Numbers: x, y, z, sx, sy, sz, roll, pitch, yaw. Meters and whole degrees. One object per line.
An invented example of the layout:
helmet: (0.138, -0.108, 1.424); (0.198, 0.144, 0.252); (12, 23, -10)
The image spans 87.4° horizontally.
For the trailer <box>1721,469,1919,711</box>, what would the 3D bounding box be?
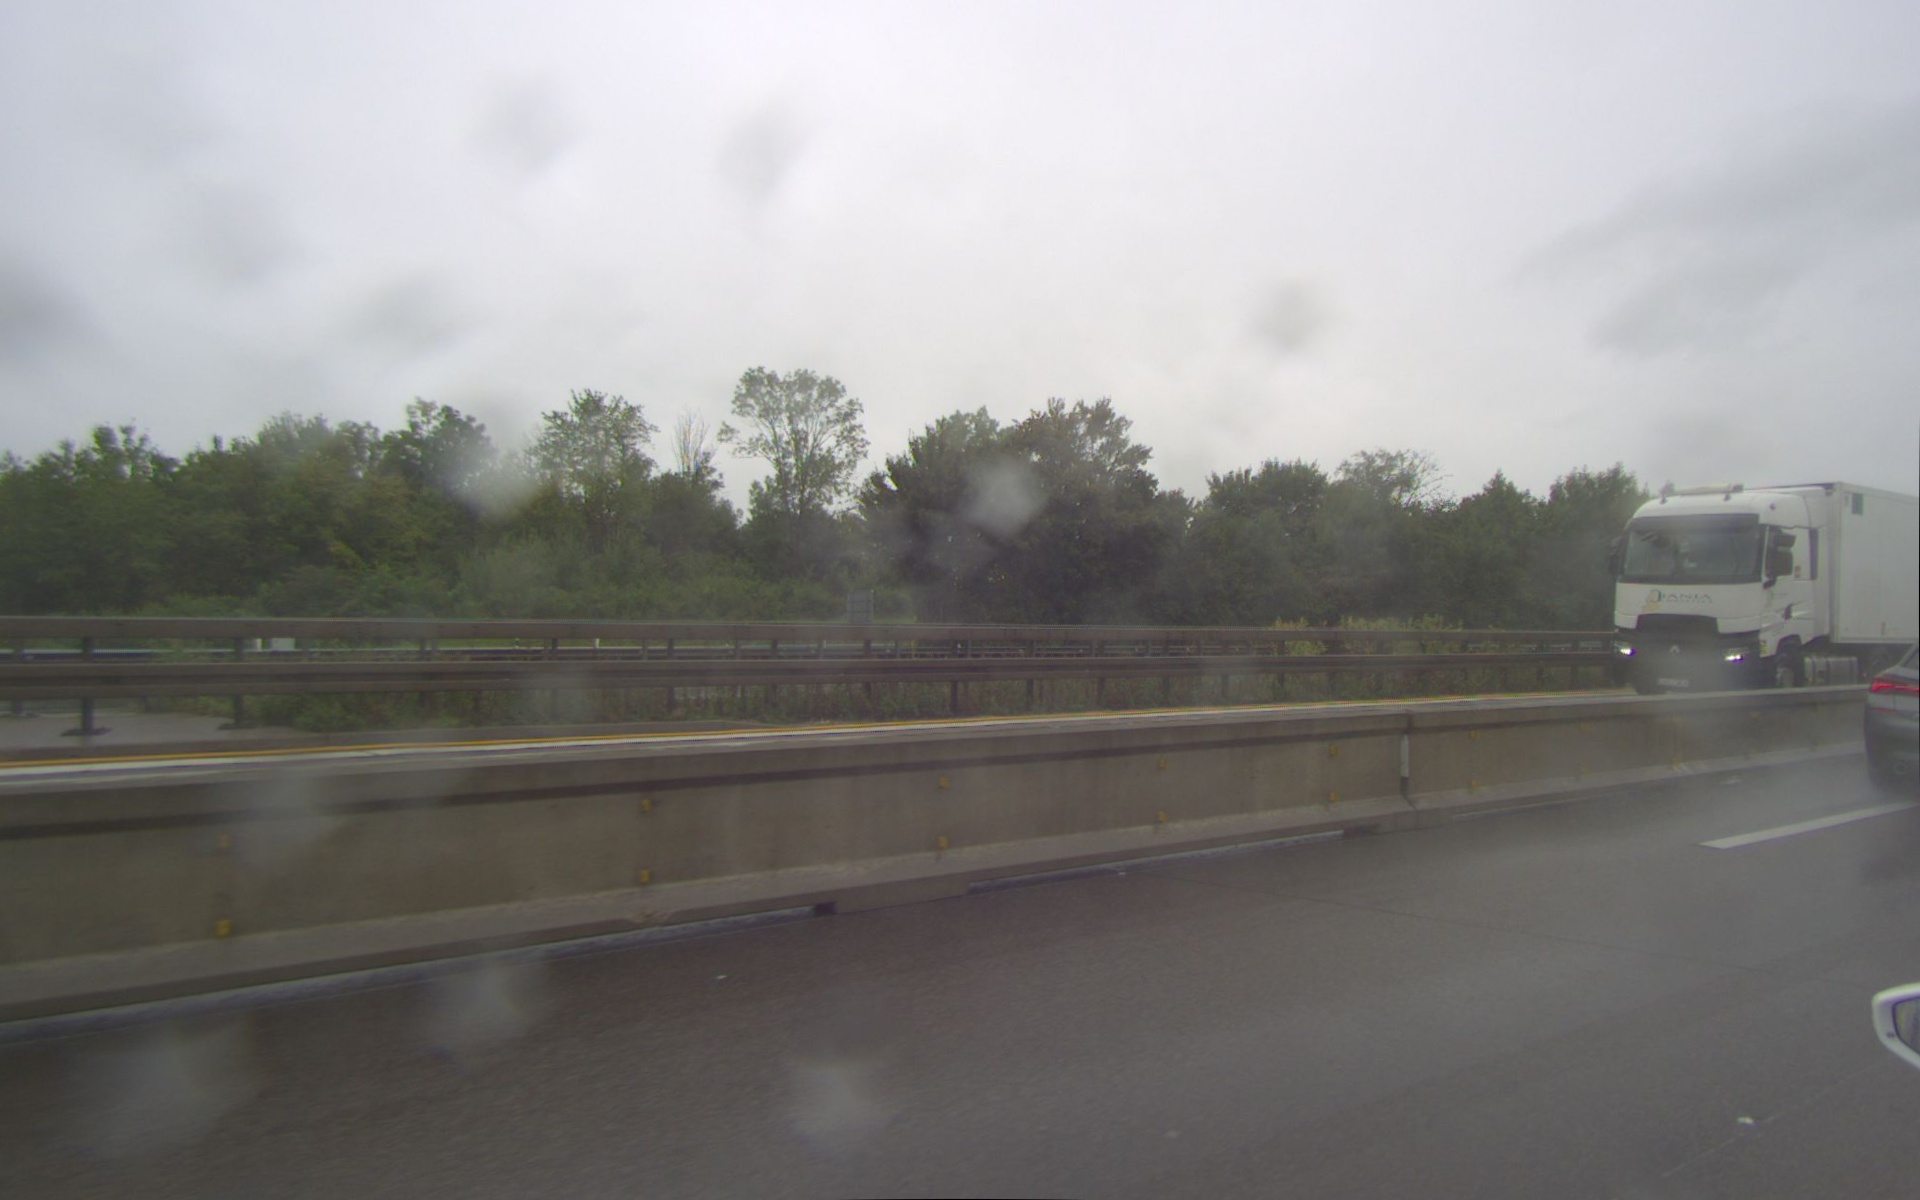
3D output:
trailer: (22.111, -0.003, 23.384); (11.868, 4.650, 2.535); (2, 0, -30)

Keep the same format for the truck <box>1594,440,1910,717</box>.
truck: (15.501, -0.265, 19.566); (6.375, 4.664, 2.548); (2, 0, -30)

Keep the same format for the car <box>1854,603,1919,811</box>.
car: (9.781, 0.924, 8.727); (4.791, 1.619, 1.692); (2, 0, -32)
